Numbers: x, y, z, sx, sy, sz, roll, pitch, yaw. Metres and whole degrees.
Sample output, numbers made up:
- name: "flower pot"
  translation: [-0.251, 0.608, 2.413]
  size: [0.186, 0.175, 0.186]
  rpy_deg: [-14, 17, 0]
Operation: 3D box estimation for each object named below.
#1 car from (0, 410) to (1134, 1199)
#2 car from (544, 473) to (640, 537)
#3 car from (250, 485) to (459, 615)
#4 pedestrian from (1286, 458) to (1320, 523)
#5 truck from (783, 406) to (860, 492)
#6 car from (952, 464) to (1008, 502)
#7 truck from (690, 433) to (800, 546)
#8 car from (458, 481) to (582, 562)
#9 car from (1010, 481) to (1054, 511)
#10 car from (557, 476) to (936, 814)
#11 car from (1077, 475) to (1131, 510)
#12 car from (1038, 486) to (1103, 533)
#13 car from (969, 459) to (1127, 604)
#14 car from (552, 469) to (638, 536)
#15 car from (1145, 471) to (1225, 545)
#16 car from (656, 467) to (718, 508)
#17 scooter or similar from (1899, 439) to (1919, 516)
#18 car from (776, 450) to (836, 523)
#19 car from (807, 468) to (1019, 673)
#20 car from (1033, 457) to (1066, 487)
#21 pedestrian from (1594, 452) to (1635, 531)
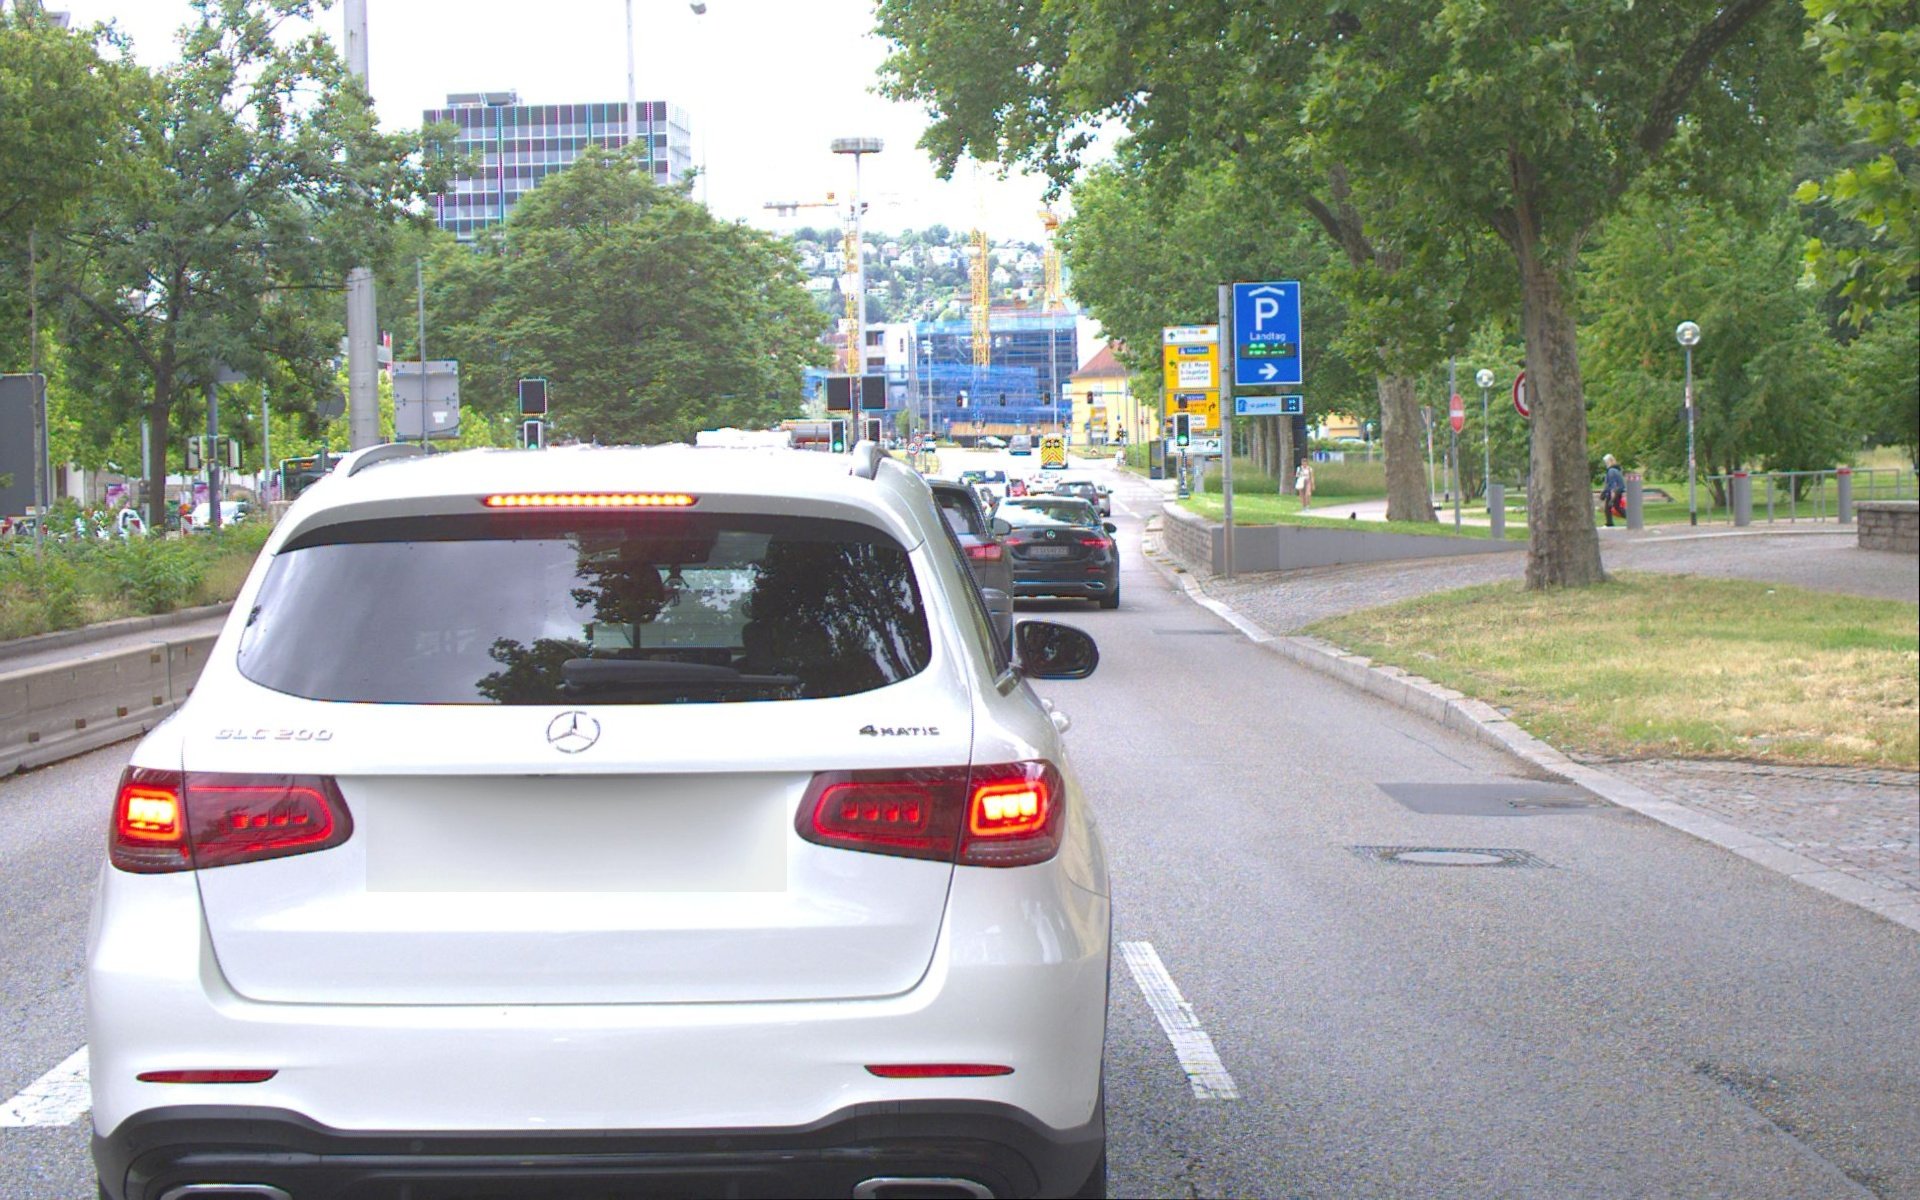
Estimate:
- name: "car"
  translation: [-0.690, 0.458, 7.585]
  size: [1.788, 1.619, 4.438]
  rpy_deg: [0, 2, -2]
- name: "car"
  translation: [-7.692, -1.997, 72.112]
  size: [1.659, 1.315, 3.548]
  rpy_deg: [0, 2, 0]
- name: "car"
  translation: [-7.102, -0.629, 40.672]
  size: [1.776, 1.415, 4.001]
  rpy_deg: [-1, 2, -1]
- name: "pedestrian"
  translation: [10.665, -3.416, 106.928]
  size: [0.761, 2.006, 0.697]
  rpy_deg: [0, 2, 36]
- name: "truck"
  translation: [-5.056, -5.513, 126.308]
  size: [2.691, 2.981, 5.638]
  rpy_deg: [1, 1, -1]
- name: "car"
  translation: [0.713, -4.121, 120.997]
  size: [1.947, 1.315, 4.017]
  rpy_deg: [0, 2, 1]
- name: "truck"
  translation: [-5.599, -2.917, 90.480]
  size: [2.621, 2.851, 7.079]
  rpy_deg: [0, 2, -1]
- name: "car"
  translation: [-7.312, -1.323, 57.388]
  size: [1.659, 1.315, 3.548]
  rpy_deg: [0, 2, -1]
- name: "car"
  translation: [3.284, -4.733, 156.606]
  size: [1.947, 1.315, 4.017]
  rpy_deg: [0, 2, 1]
- name: "car"
  translation: [-1.179, 0.160, 18.256]
  size: [1.795, 1.603, 3.756]
  rpy_deg: [0, 2, -5]
- name: "car"
  translation: [5.497, -4.099, 131.398]
  size: [1.947, 1.315, 4.017]
  rpy_deg: [0, 2, 1]
- name: "car"
  translation: [3.469, -2.856, 108.259]
  size: [1.947, 1.423, 4.017]
  rpy_deg: [0, 2, 1]
- name: "car"
  translation: [1.088, -0.909, 44.224]
  size: [1.825, 1.746, 4.001]
  rpy_deg: [-1, 2, -1]
- name: "car"
  translation: [-8.589, -2.320, 81.136]
  size: [1.659, 1.508, 3.548]
  rpy_deg: [-1, 2, -1]
- name: "car"
  translation: [6.176, -2.534, 94.699]
  size: [1.993, 2.006, 4.000]
  rpy_deg: [0, 2, 1]
- name: "car"
  translation: [-8.822, -3.626, 111.295]
  size: [1.659, 1.315, 3.548]
  rpy_deg: [0, 2, 1]
- name: "scooter or similar"
  translation: [15.874, -1.983, 55.940]
  size: [0.636, 1.241, 2.225]
  rpy_deg: [1, 1, 2]
- name: "car"
  translation: [-5.372, -3.946, 119.765]
  size: [1.993, 2.467, 4.001]
  rpy_deg: [-1, 2, -3]
- name: "car"
  translation: [-0.452, -0.288, 29.292]
  size: [1.659, 1.633, 3.548]
  rpy_deg: [0, 2, -3]
- name: "car"
  translation: [5.091, -7.285, 196.291]
  size: [1.758, 1.663, 4.168]
  rpy_deg: [-1, 2, 0]
- name: "pedestrian"
  translation: [13.567, -2.251, 71.304]
  size: [0.639, 1.605, 0.662]
  rpy_deg: [0, 2, 29]
